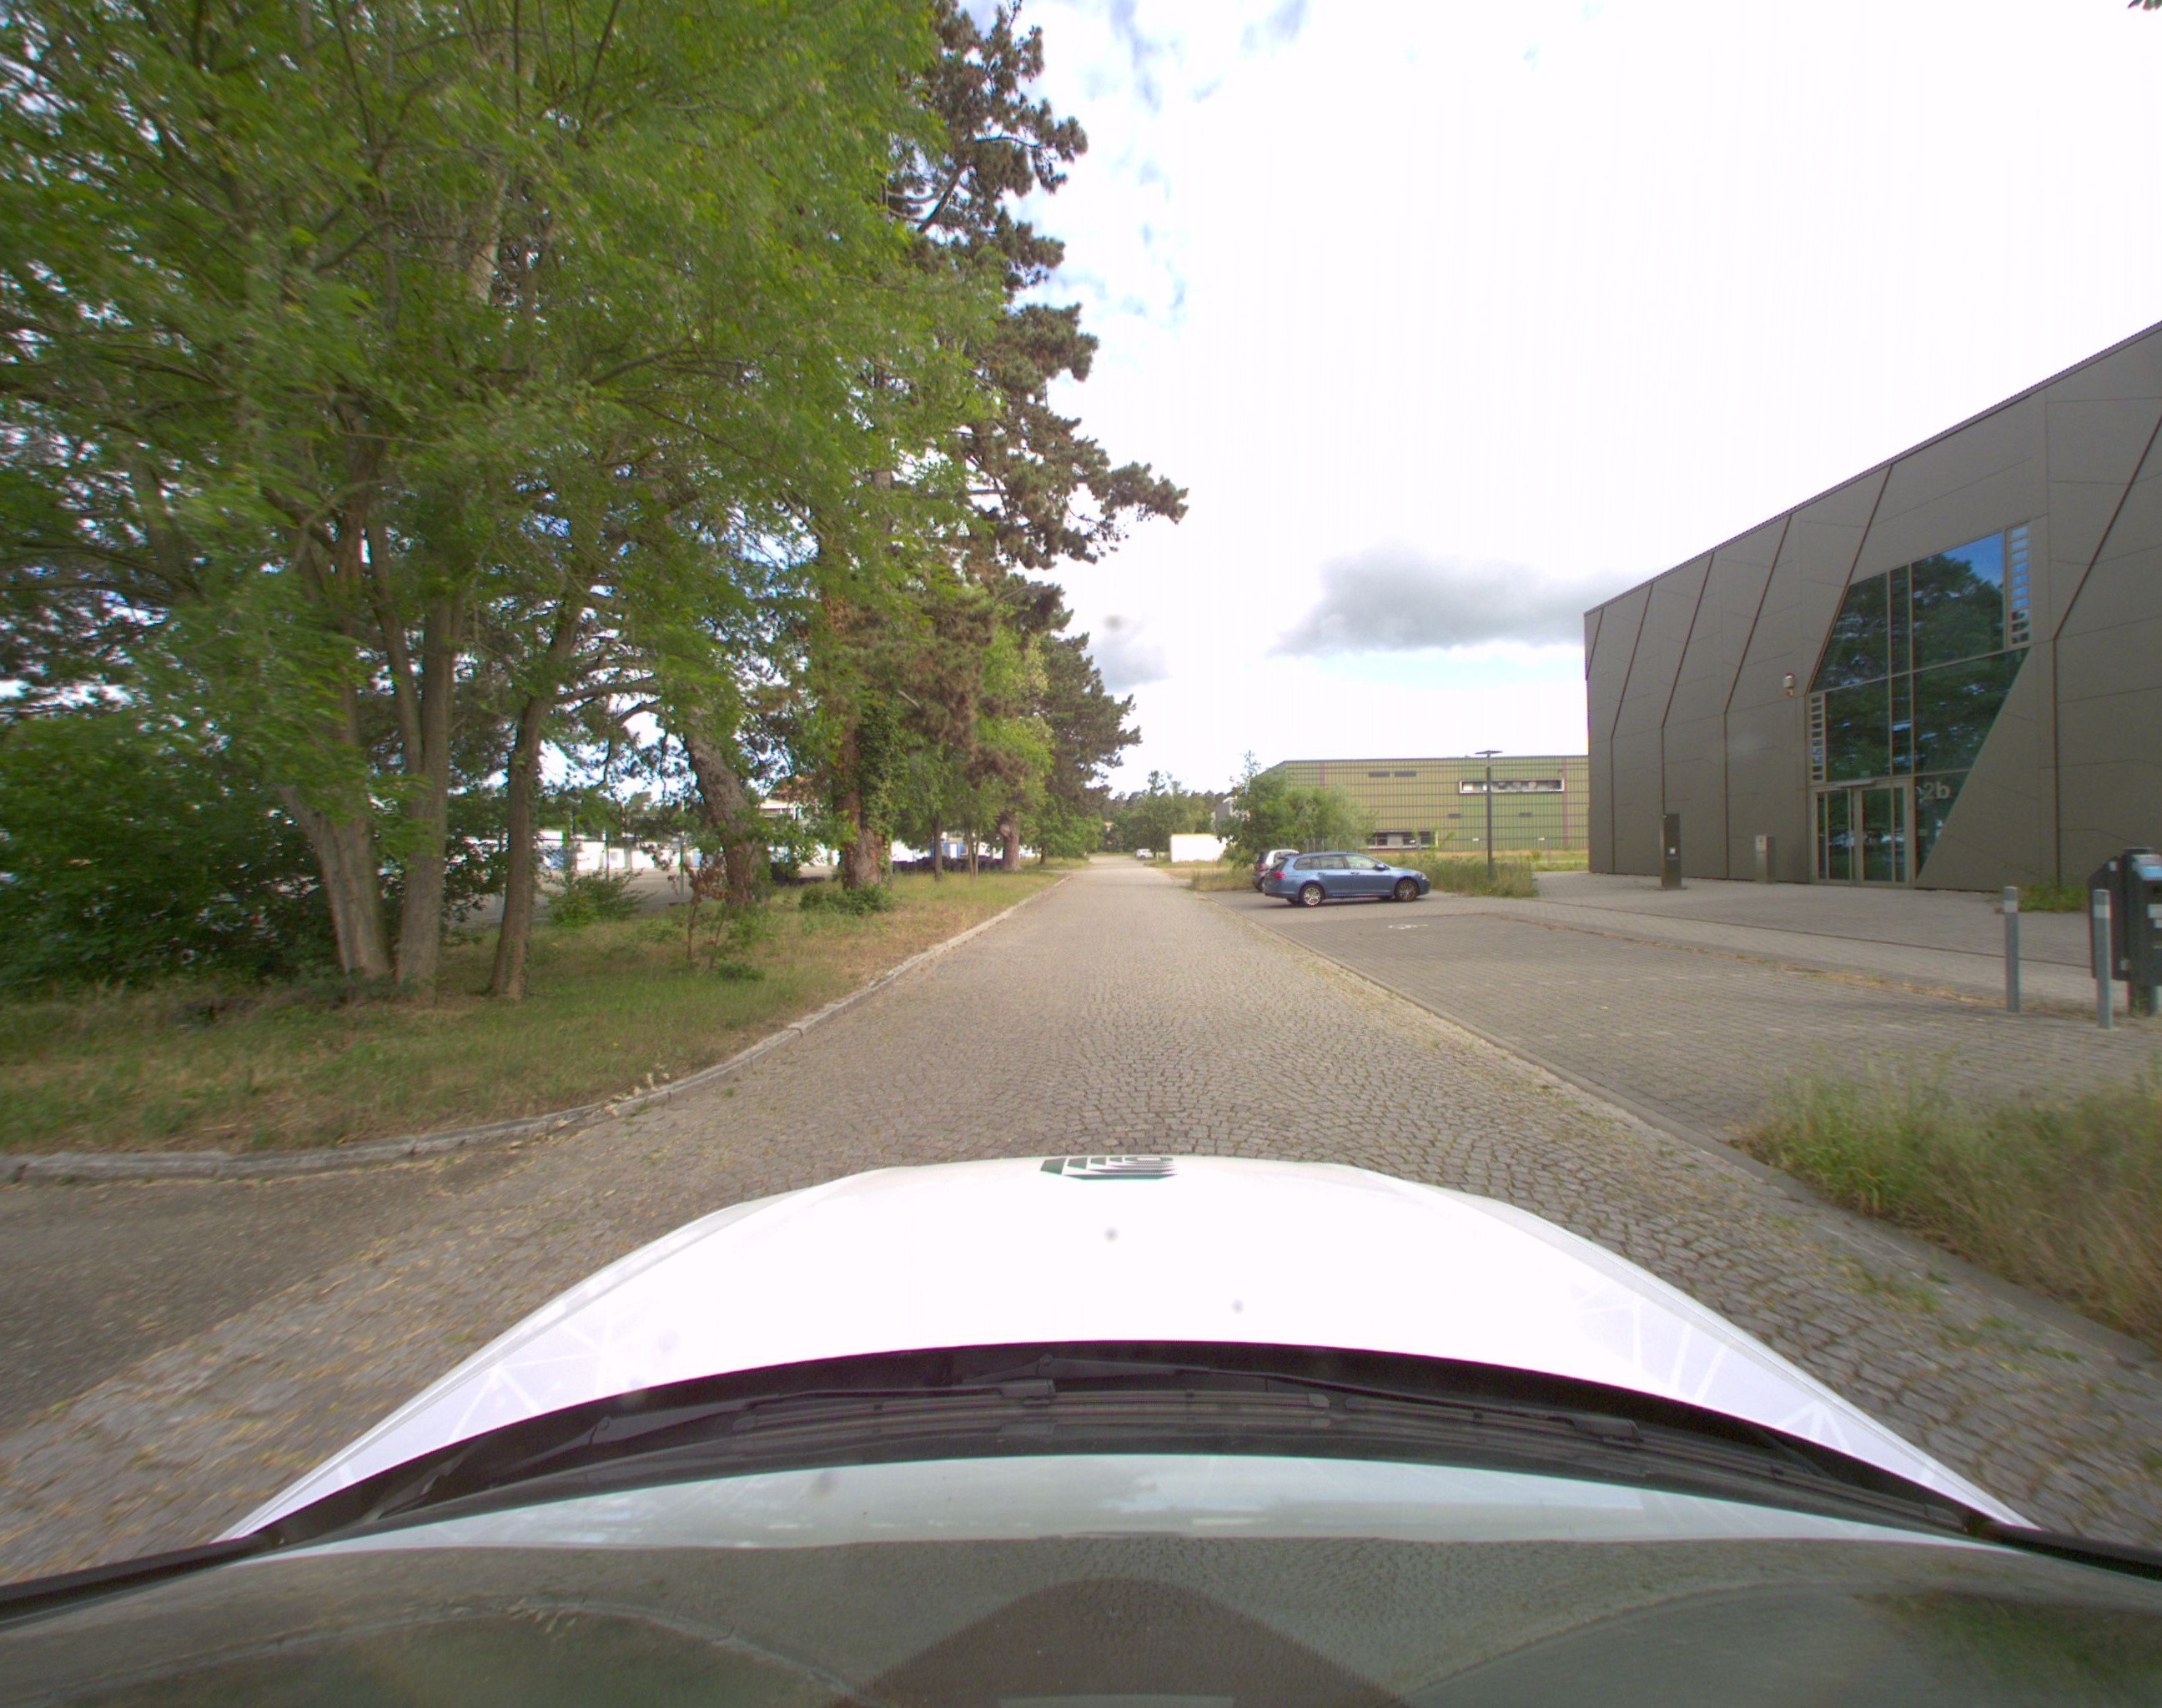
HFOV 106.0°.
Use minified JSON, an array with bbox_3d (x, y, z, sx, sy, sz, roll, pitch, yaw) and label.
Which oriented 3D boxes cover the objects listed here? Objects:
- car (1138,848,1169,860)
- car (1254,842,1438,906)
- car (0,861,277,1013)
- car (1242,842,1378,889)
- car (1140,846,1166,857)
[{"bbox_3d":[10.329,0.024,116.546,4.339,1.687,1.926,-1,0,1],"label":"car"},{"bbox_3d":[7.359,0.528,22.965,4.505,1.531,1.999,-2,0,-2],"label":"car"},{"bbox_3d":[-11.749,0.860,8.721,1.913,1.476,4.368,-1,0,0],"label":"car"},{"bbox_3d":[8.435,0.405,30.309,4.499,1.531,2.002,-2,0,2],"label":"car"},{"bbox_3d":[12.095,-0.504,137.509,4.336,1.780,1.927,-1,0,3],"label":"car"}]
